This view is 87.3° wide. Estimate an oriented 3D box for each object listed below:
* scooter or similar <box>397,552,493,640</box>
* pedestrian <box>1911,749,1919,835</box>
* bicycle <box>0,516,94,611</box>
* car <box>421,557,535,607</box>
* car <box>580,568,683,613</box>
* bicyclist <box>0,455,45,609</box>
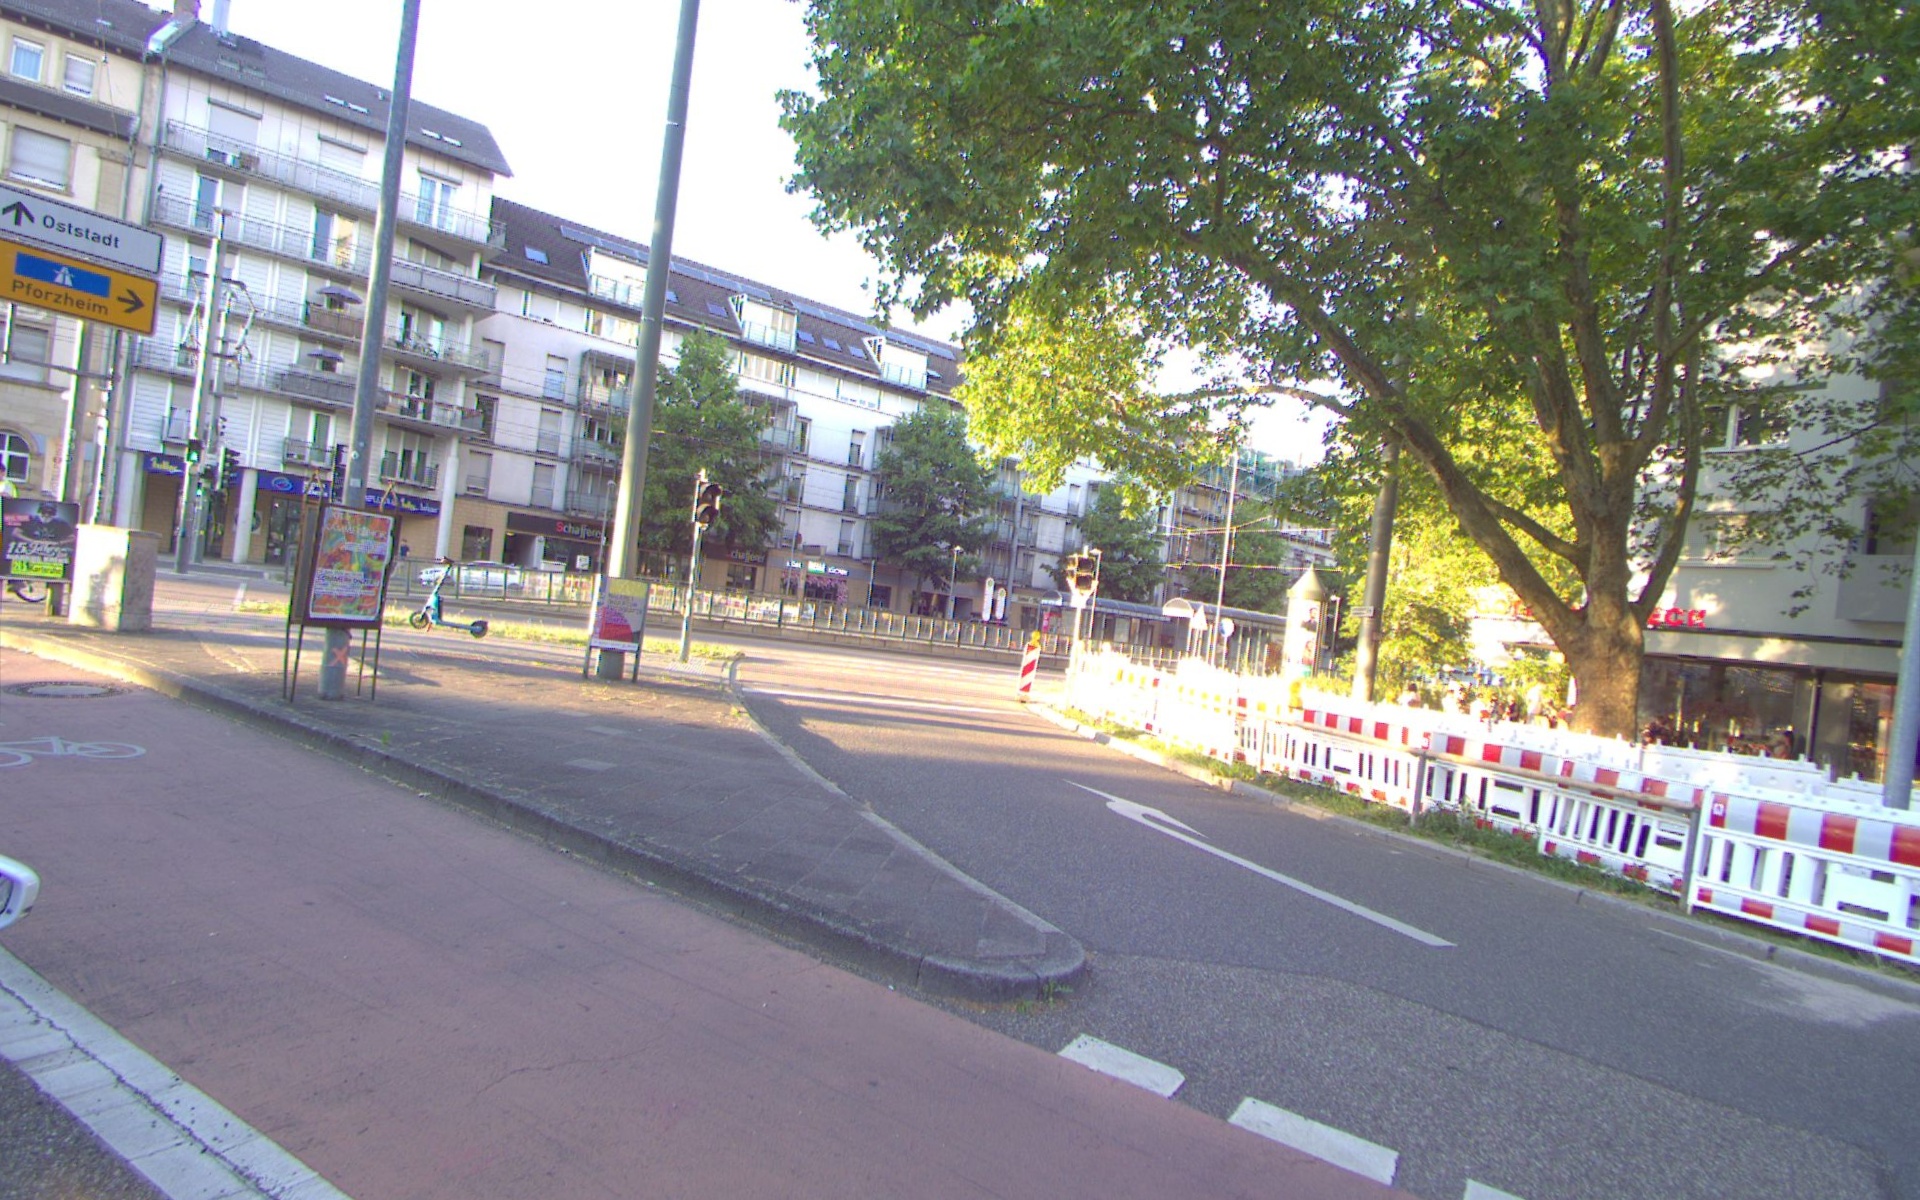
[{"bbox_3d":[-8.431,-0.059,16.512,1.217,1.264,0.513,8,-1,-19],"label":"scooter or similar"},{"bbox_3d":[15.687,2.968,15.844,0.733,1.607,0.641,6,-1,25],"label":"pedestrian"},{"bbox_3d":[-12.017,-0.490,12.495,0.617,1.122,2.073,7,-2,0],"label":"bicycle"},{"bbox_3d":[-20.141,-0.746,42.074,3.964,1.503,1.833,9,-2,-34],"label":"car"},{"bbox_3d":[-14.936,-0.415,45.863,3.970,1.503,1.830,9,-3,-39],"label":"car"},{"bbox_3d":[-11.965,-0.856,12.343,0.617,1.845,0.699,7,-1,0],"label":"bicyclist"}]
